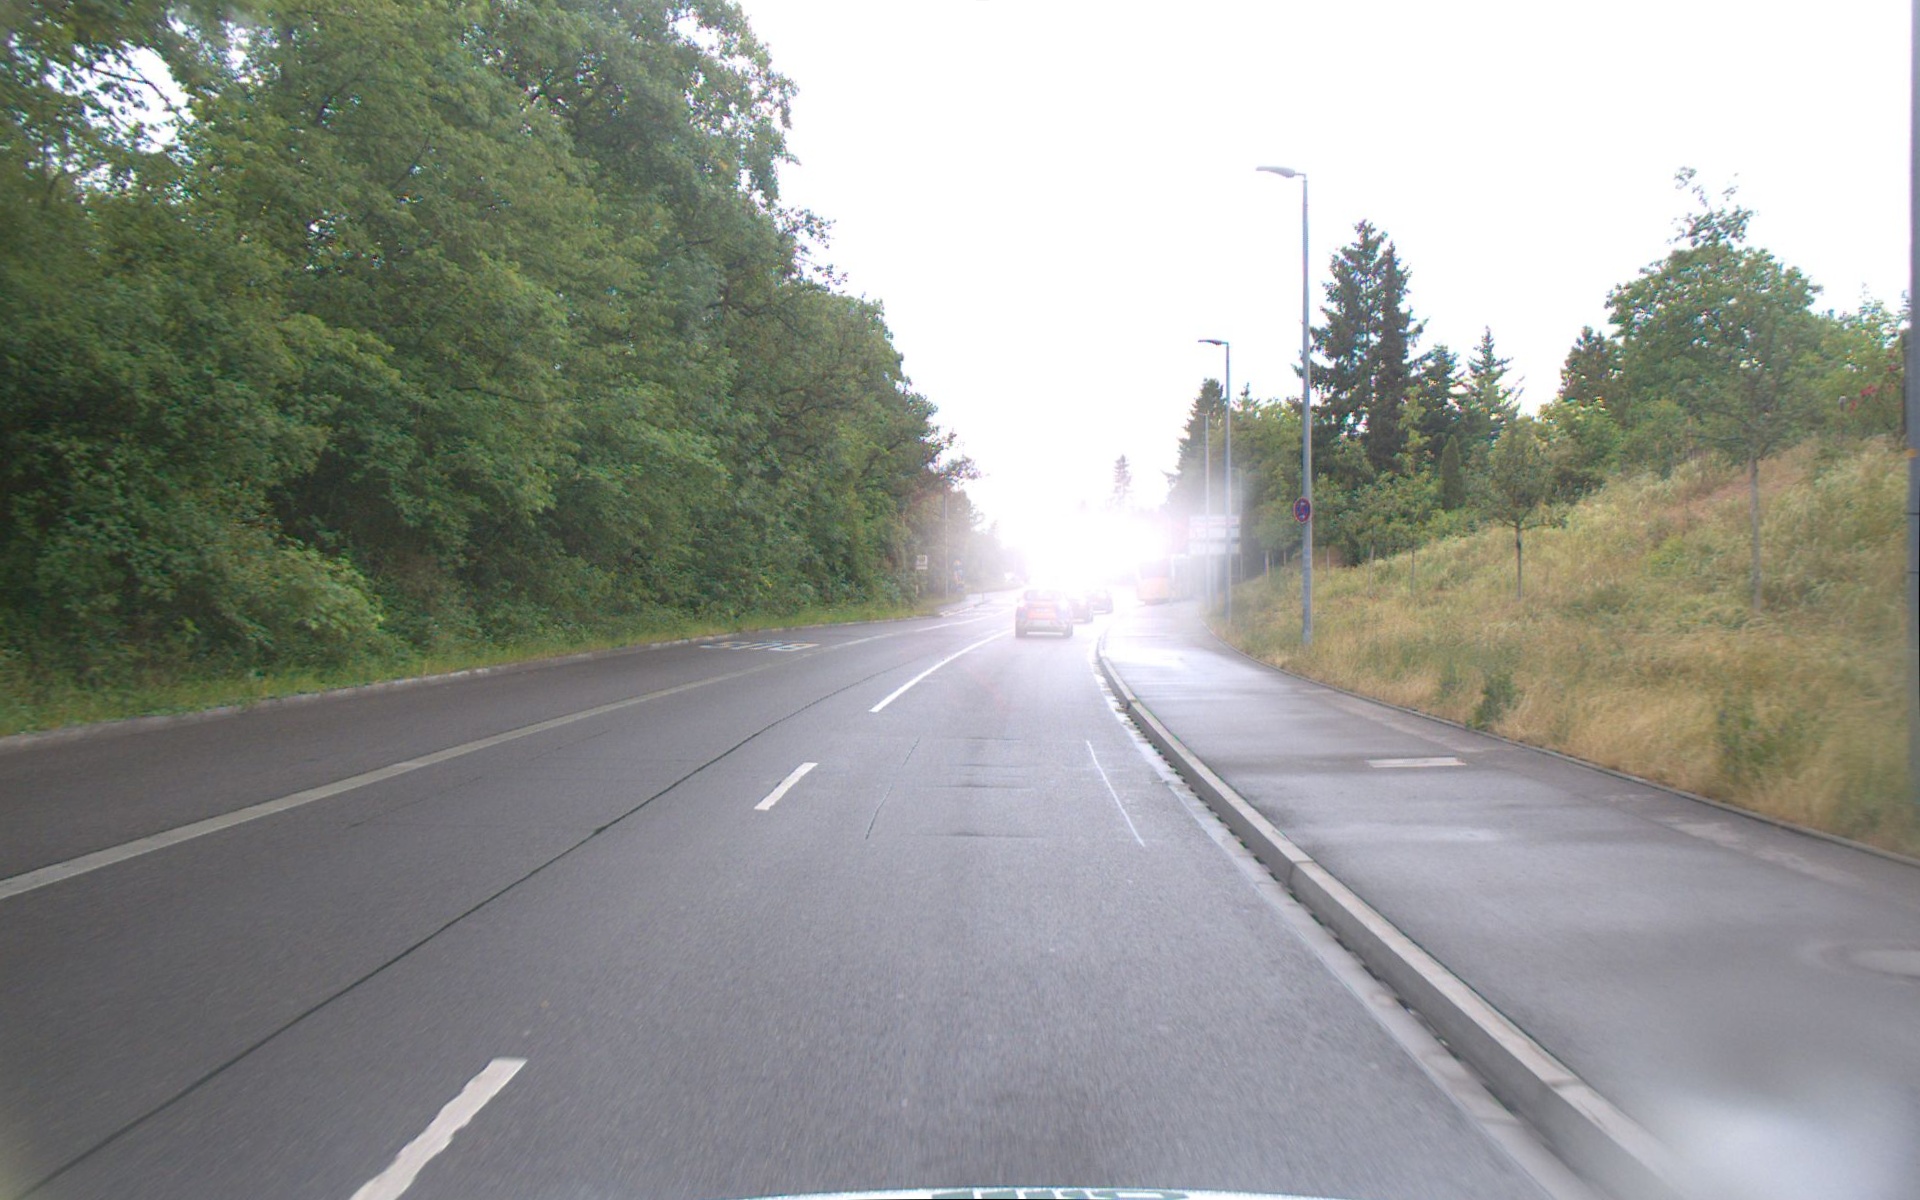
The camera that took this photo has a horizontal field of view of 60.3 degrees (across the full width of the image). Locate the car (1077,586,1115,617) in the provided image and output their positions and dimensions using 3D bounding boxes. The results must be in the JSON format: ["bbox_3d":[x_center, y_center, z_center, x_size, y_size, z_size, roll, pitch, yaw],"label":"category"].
[{"bbox_3d":[7.159,0.068,87.367,1.952,1.579,4.002,1,0,4],"label":"car"}]

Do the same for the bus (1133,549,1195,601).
[{"bbox_3d":[13.481,-1.577,108.548,2.757,3.197,9.186,1,0,15],"label":"bus"}]

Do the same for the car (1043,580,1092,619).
[{"bbox_3d":[4.591,-0.045,70.229,1.886,1.512,3.803,-1,1,6],"label":"car"}]

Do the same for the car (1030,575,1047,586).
[{"bbox_3d":[9.962,-2.459,209.584,1.953,1.445,4.000,1,0,0],"label":"car"}]

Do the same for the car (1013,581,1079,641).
[{"bbox_3d":[2.732,0.313,51.894,1.952,1.718,4.003,-1,1,4],"label":"car"}]
